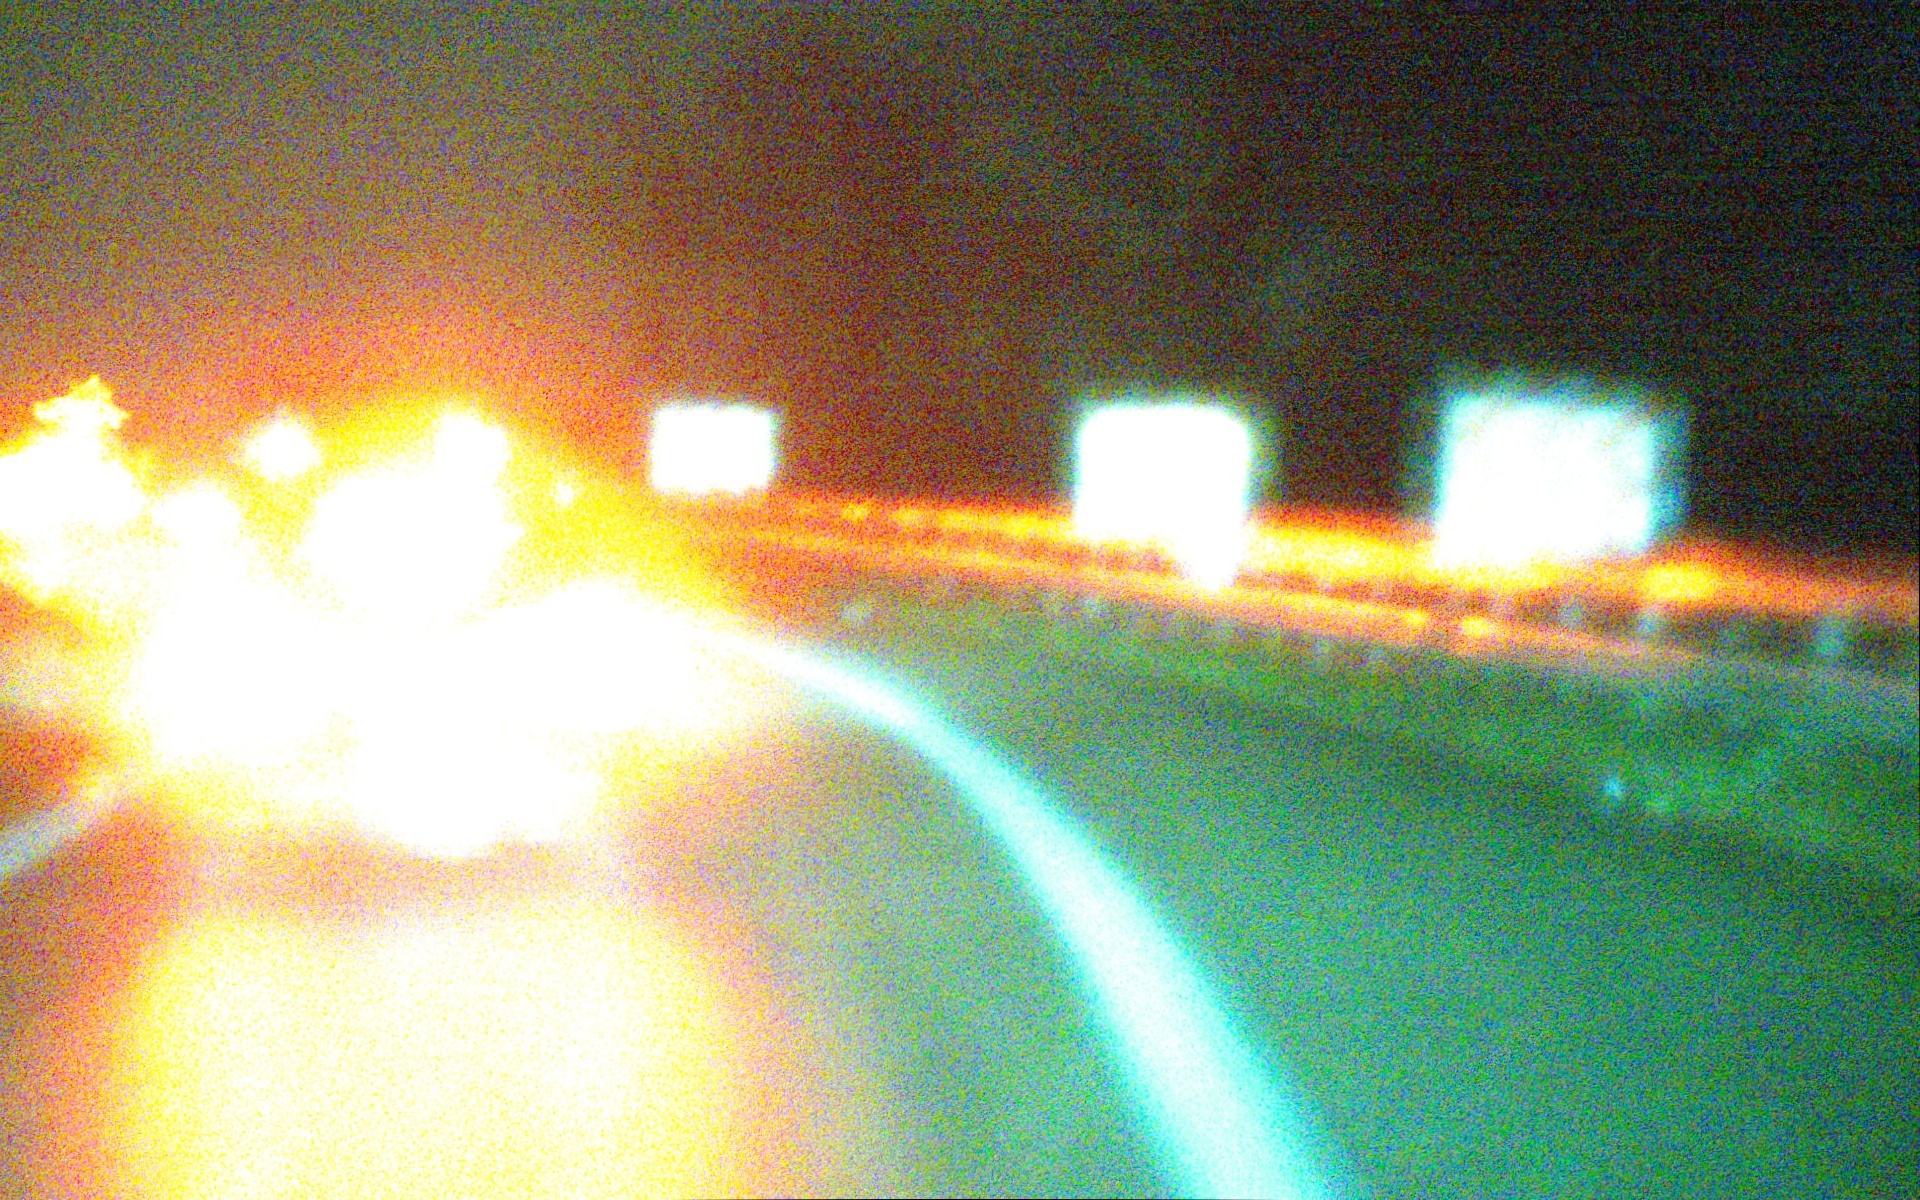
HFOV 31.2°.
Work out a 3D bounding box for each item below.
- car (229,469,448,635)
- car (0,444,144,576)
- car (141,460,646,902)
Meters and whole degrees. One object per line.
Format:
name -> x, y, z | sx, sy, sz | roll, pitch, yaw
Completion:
car -> -6.883, -0.545, 37.776 | 1.895, 1.714, 4.047 | -1, 1, -17
car -> -14.545, -1.479, 55.238 | 1.895, 2.033, 4.046 | -1, 2, -27
car -> -2.410, 0.244, 14.991 | 1.860, 1.641, 4.070 | -1, 2, -8
